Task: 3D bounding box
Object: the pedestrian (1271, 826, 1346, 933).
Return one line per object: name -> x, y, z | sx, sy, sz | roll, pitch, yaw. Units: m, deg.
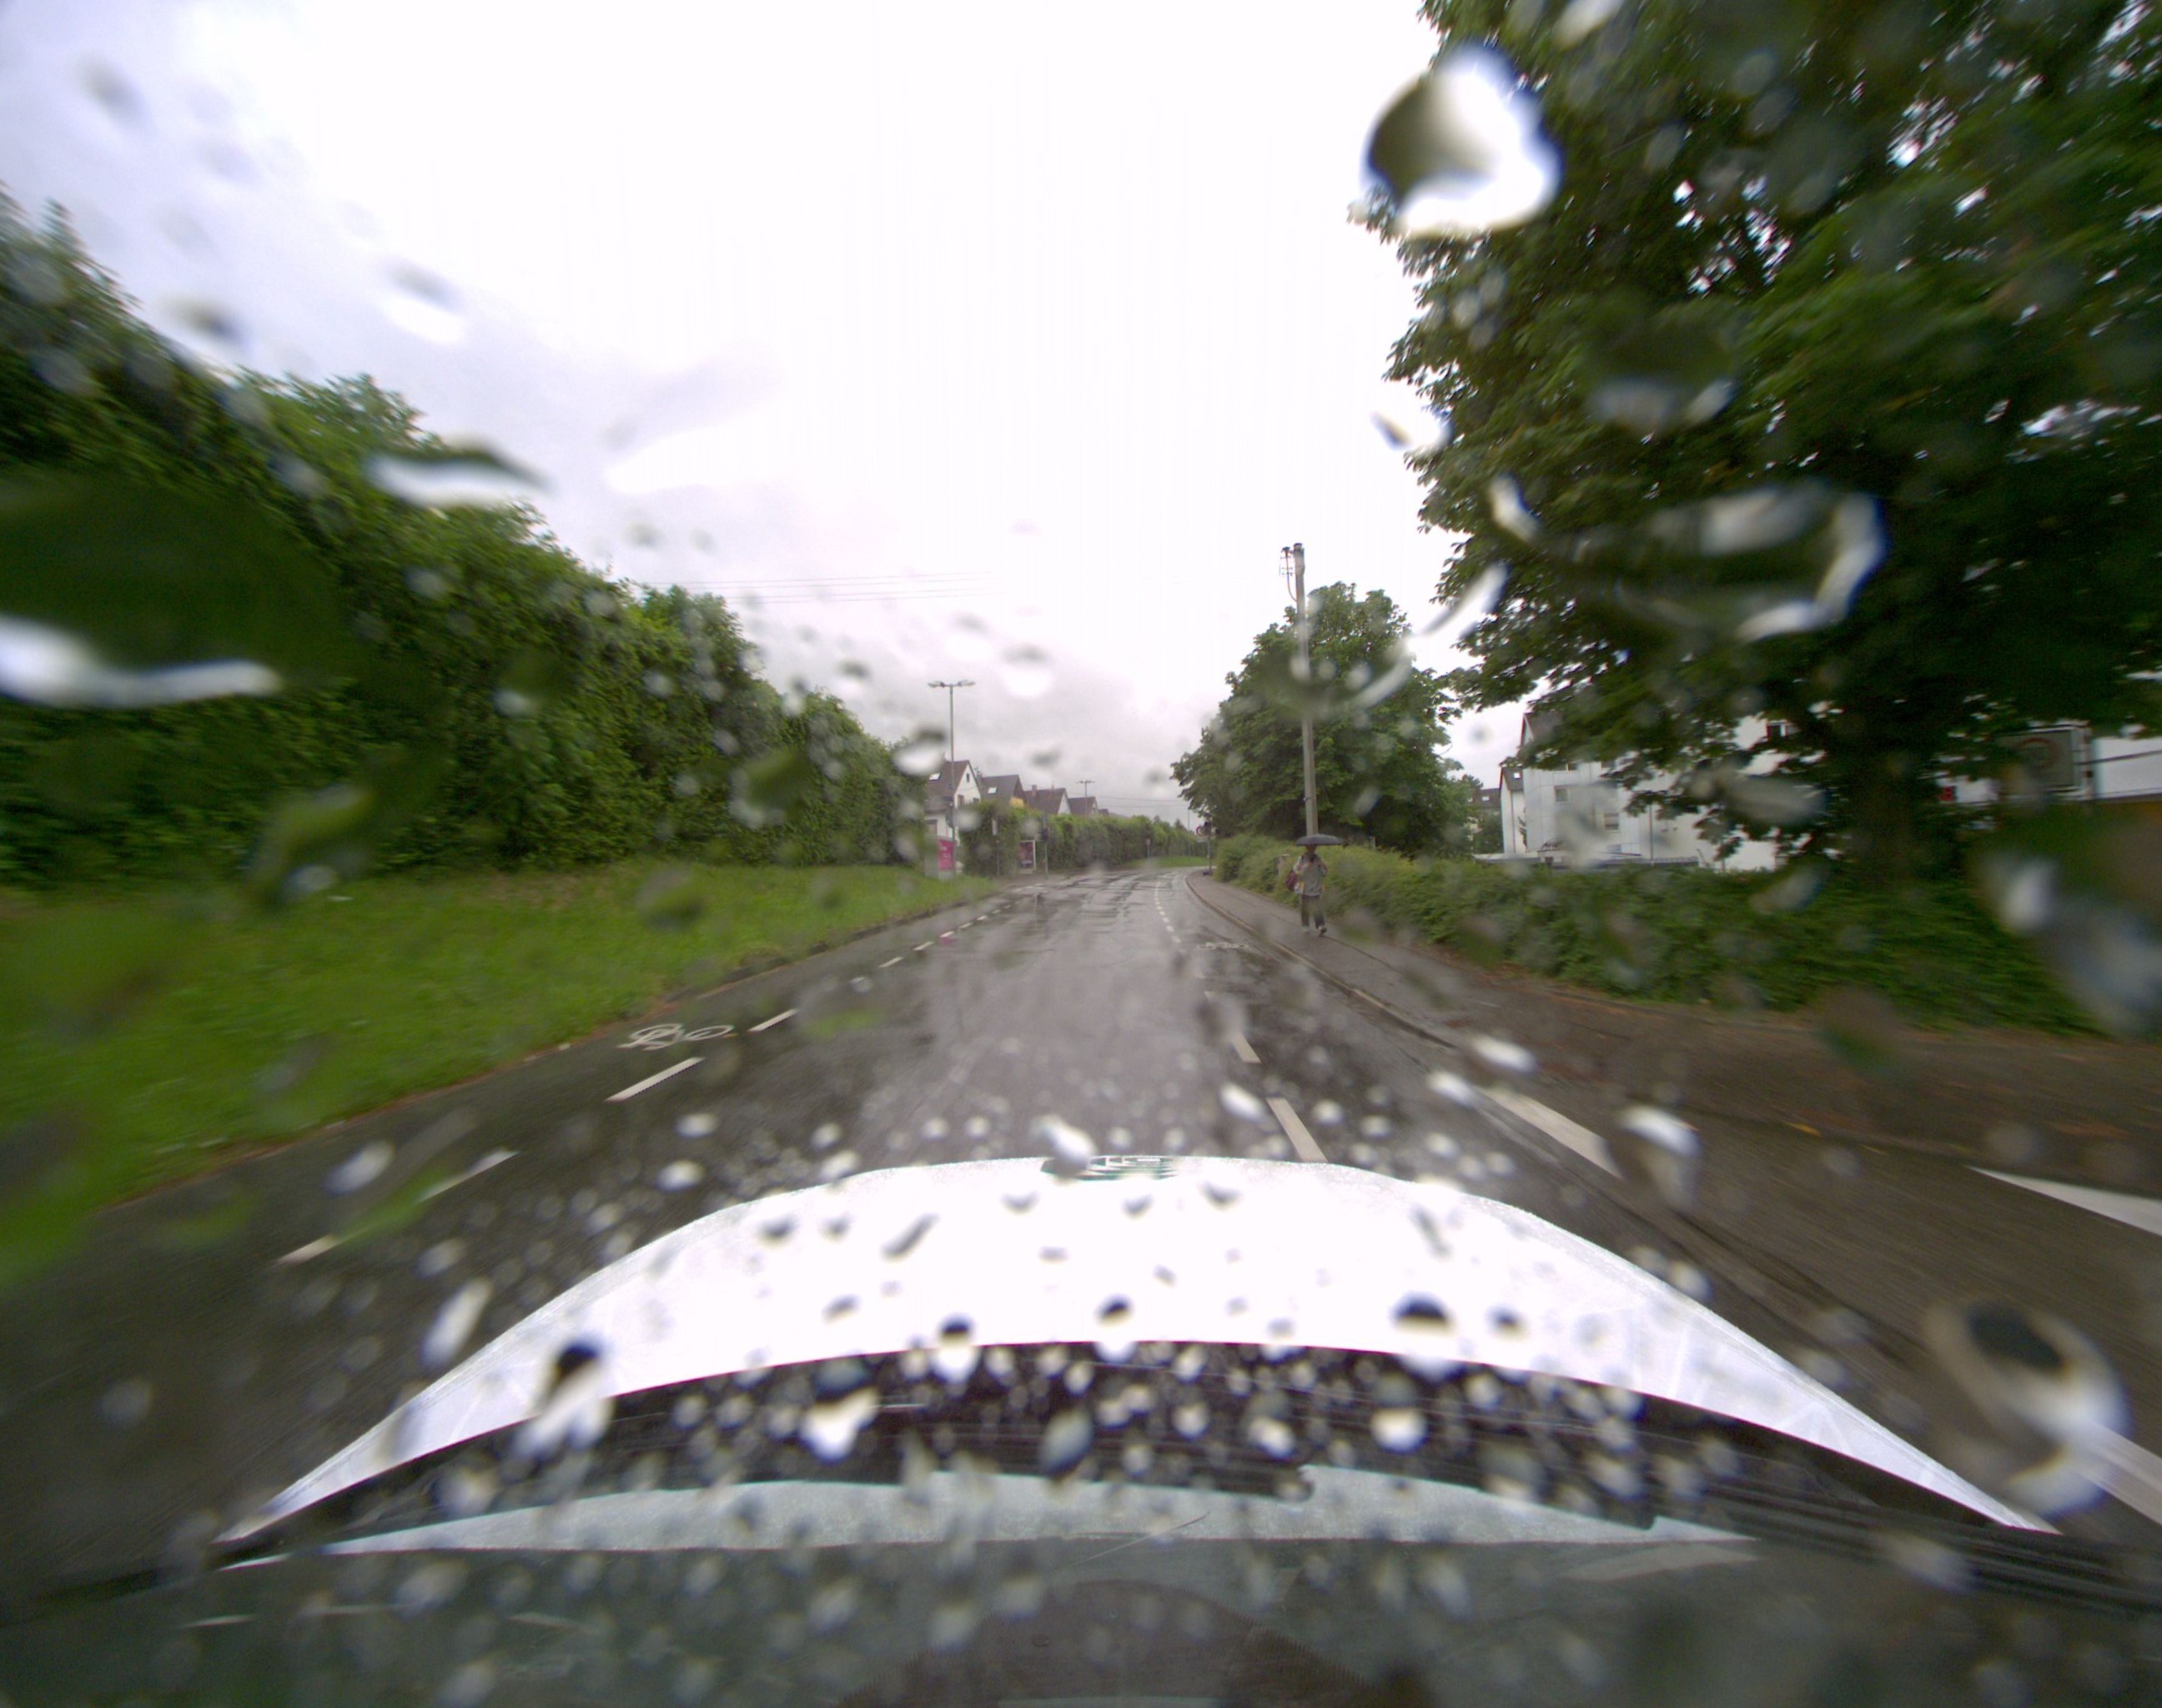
pedestrian -> 3.812, 0.411, 13.718 | 0.916, 1.675, 1.058 | -3, 0, 3
